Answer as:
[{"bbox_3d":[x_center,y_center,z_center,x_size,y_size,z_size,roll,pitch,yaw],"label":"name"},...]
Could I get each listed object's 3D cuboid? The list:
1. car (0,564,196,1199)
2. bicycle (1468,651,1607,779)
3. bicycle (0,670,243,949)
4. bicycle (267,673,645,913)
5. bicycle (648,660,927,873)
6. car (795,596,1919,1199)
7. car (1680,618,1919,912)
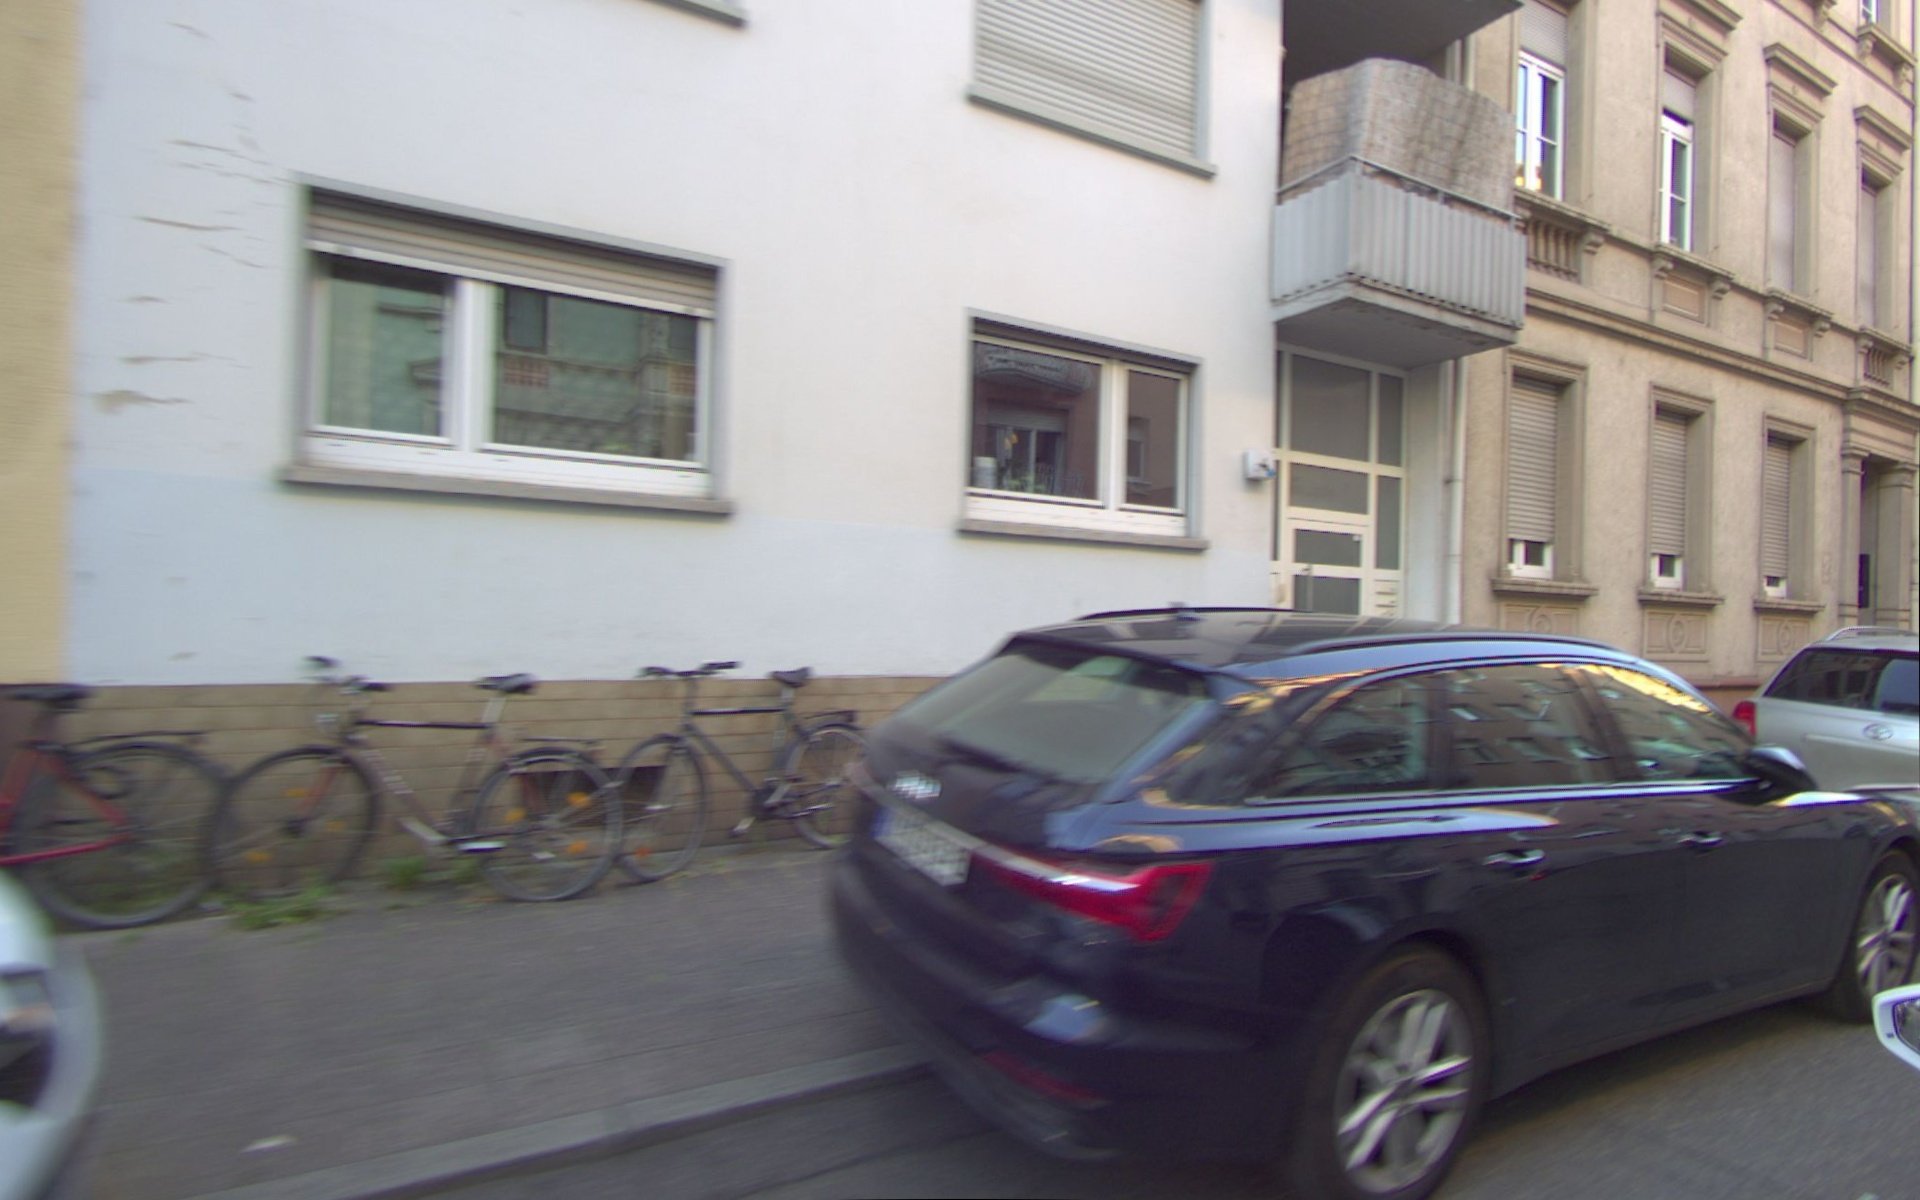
[{"bbox_3d":[-3.230,0.669,0.959,3.743,1.509,1.631,1,-1,-30],"label":"car"},{"bbox_3d":[4.992,0.960,8.657,1.525,1.022,0.290,1,-1,-29],"label":"bicycle"},{"bbox_3d":[-3.725,0.802,3.872,1.527,1.022,0.290,1,-1,-33],"label":"bicycle"},{"bbox_3d":[-2.251,0.859,4.573,1.515,1.022,0.292,1,-1,-6],"label":"bicycle"},{"bbox_3d":[-0.906,0.858,5.532,1.528,1.022,0.290,1,-1,-35],"label":"bicycle"},{"bbox_3d":[1.786,0.827,3.843,4.440,1.559,1.782,1,-1,-30],"label":"car"},{"bbox_3d":[6.868,0.934,6.717,4.384,1.559,1.781,1,-1,-31],"label":"car"}]
